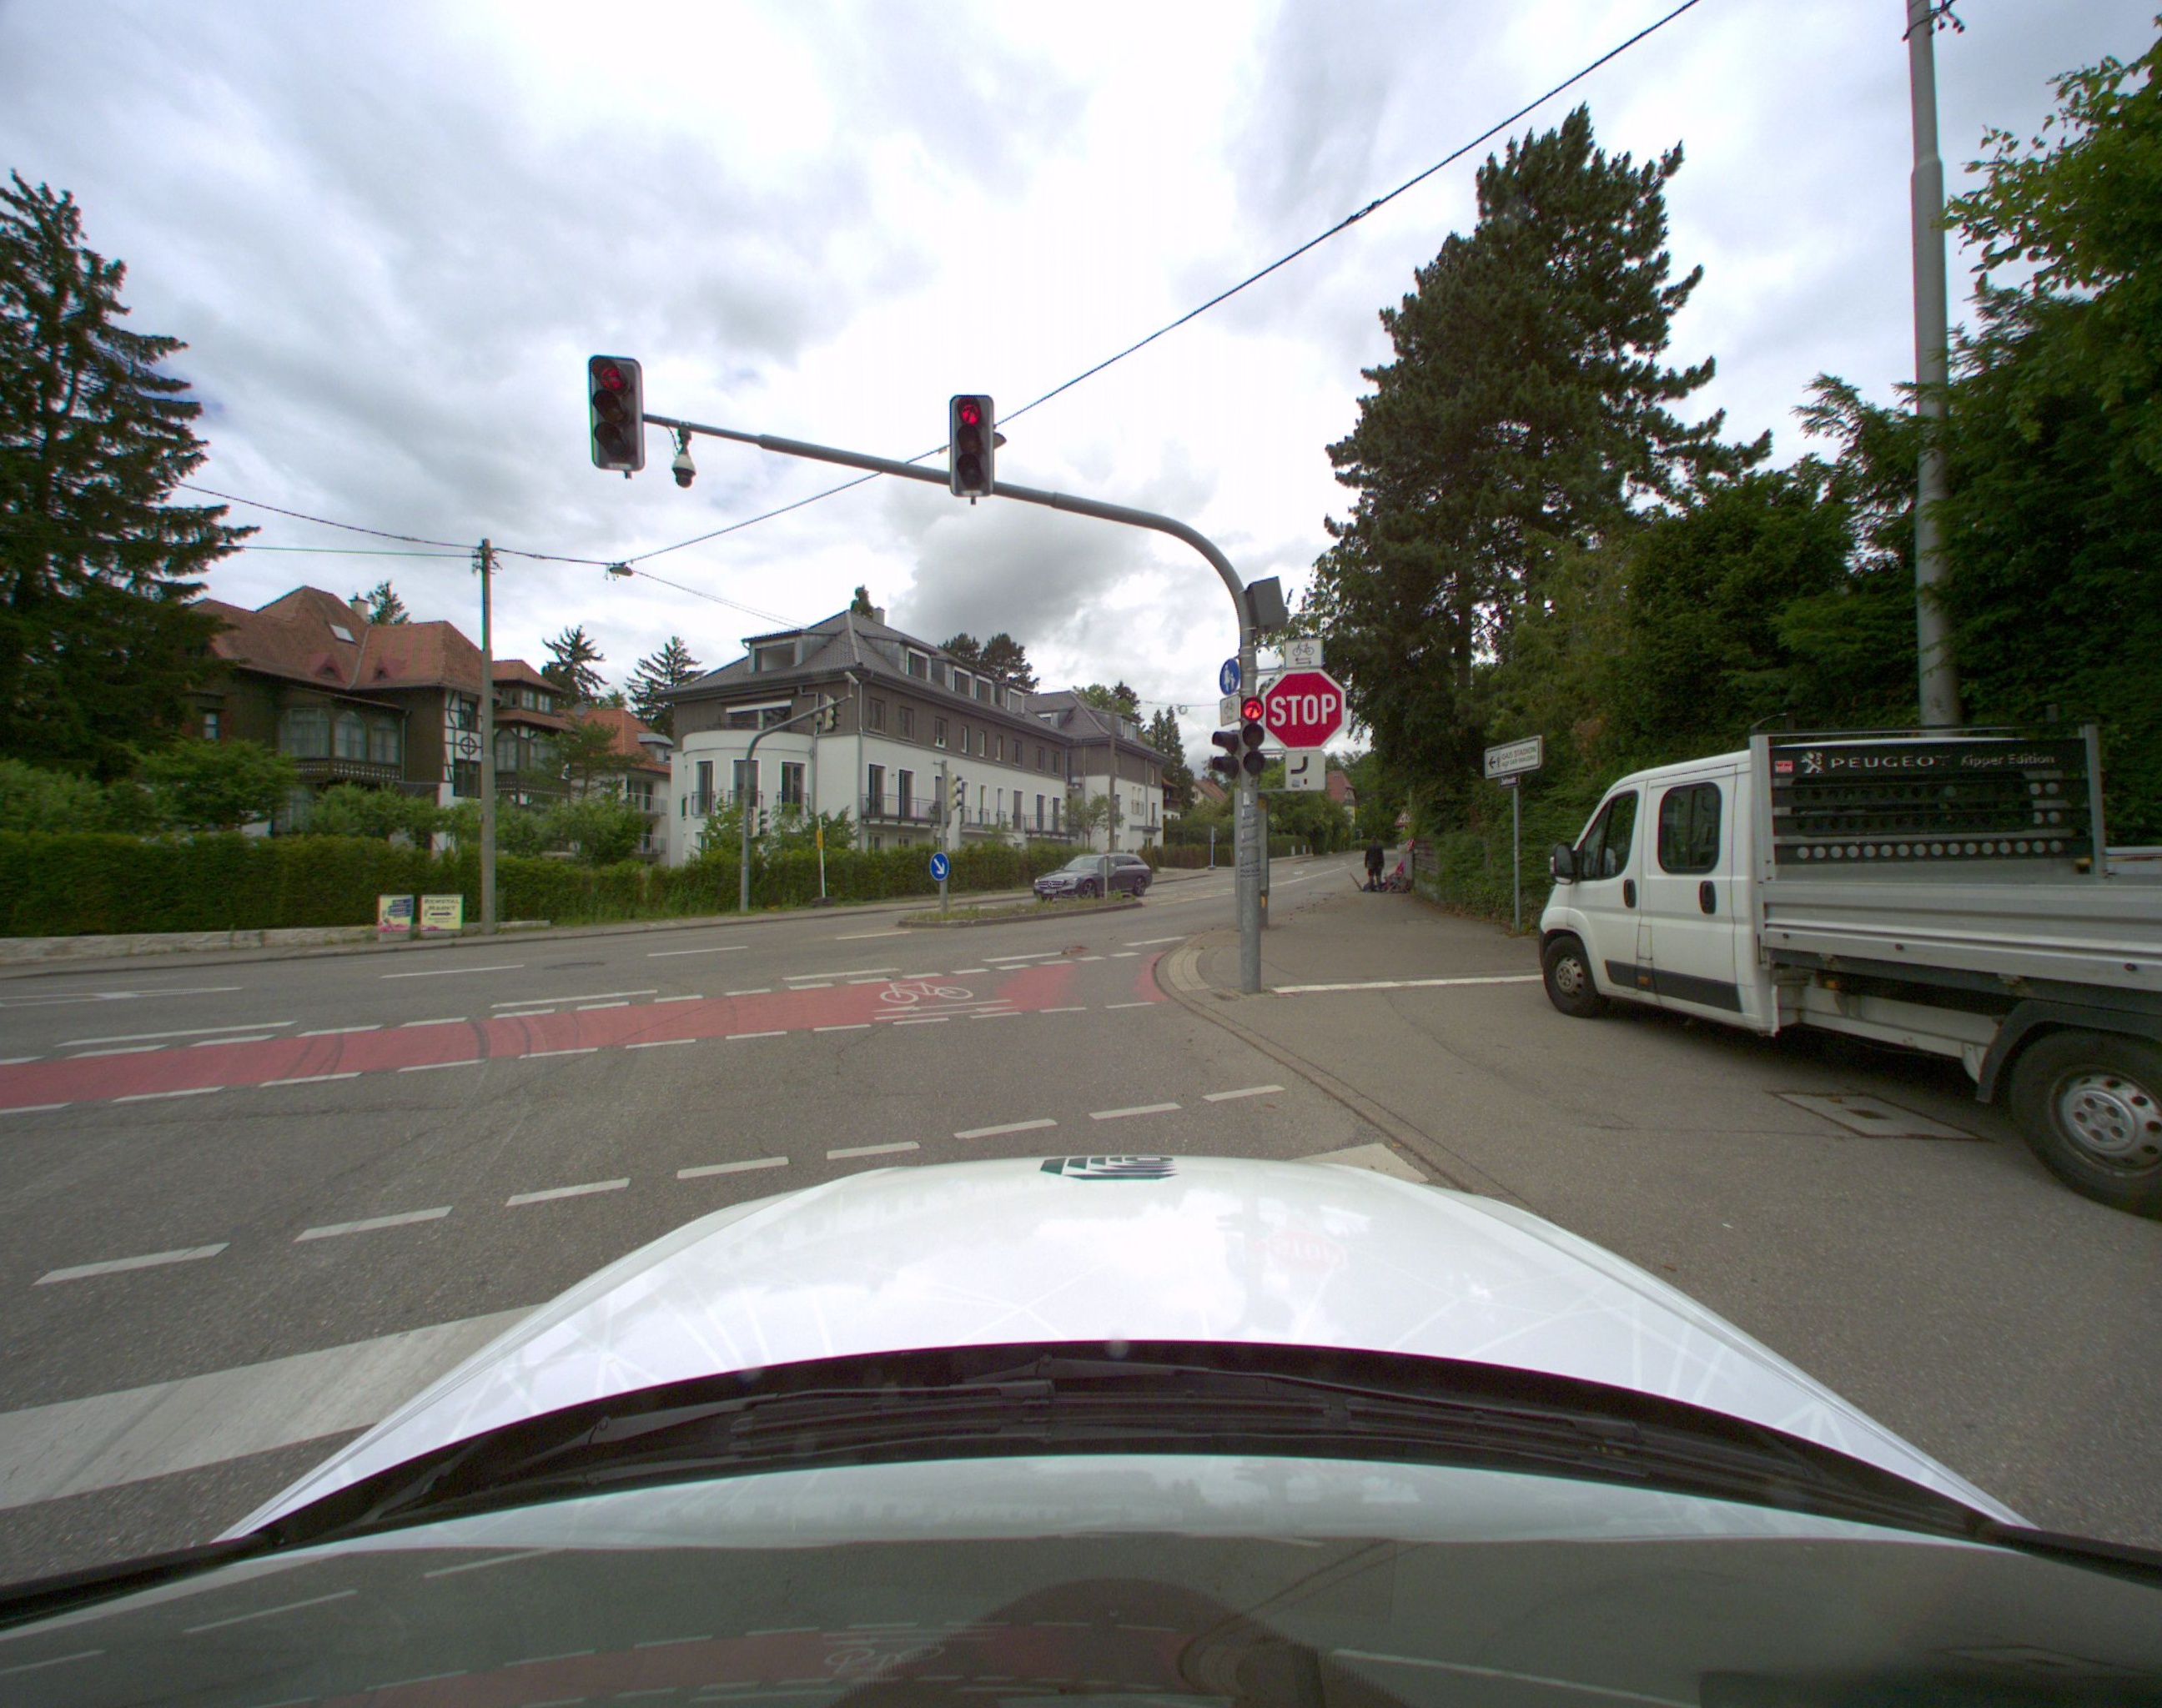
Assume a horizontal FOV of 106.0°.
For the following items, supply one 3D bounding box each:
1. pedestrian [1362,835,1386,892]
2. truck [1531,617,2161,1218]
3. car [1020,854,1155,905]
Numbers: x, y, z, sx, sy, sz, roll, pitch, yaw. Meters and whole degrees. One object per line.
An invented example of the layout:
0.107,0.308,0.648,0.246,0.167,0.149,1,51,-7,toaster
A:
9.834,0.320,27.322,0.594,1.907,0.559,0,-1,2,pedestrian
5.267,0.236,4.955,2.198,2.243,5.729,0,0,4,truck
0.322,0.749,26.297,1.920,1.403,4.773,-1,0,36,car
